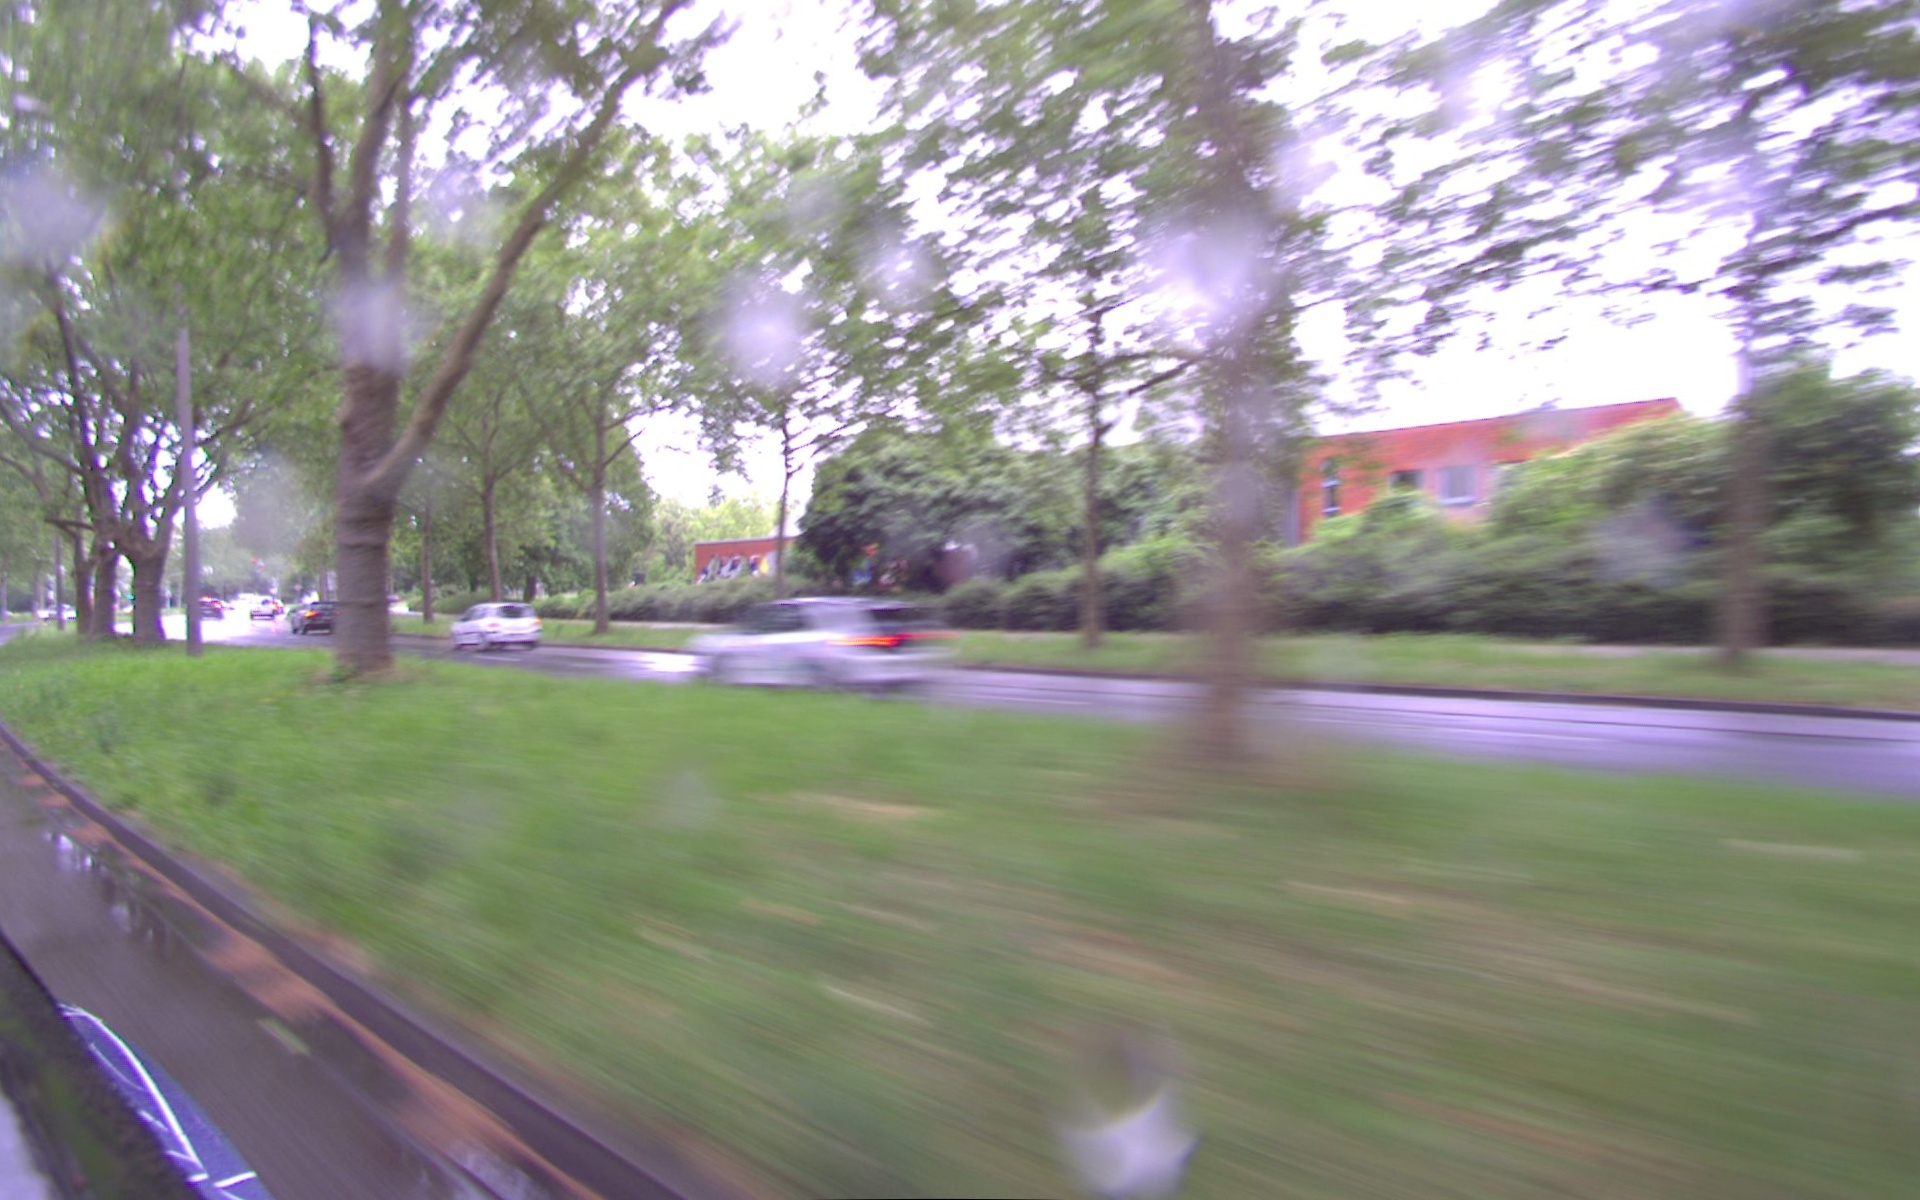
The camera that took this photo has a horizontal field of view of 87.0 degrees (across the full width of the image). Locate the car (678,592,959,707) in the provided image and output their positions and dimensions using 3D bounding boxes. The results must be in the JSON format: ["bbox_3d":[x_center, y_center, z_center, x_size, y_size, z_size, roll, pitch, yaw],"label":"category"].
[{"bbox_3d":[-2.254,0.673,15.351,4.407,1.487,1.726,-1,0,41],"label":"car"}]

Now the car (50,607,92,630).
[{"bbox_3d":[-70.157,1.452,79.908,1.967,1.641,4.533,-2,1,-36],"label":"car"}]

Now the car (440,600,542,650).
[{"bbox_3d":[-14.985,0.765,32.254,1.723,1.470,3.844,-2,0,-45],"label":"car"}]

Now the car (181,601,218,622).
[{"bbox_3d":[-66.497,1.020,88.581,2.002,1.749,4.969,-2,0,-31],"label":"car"}]

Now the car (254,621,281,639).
[{"bbox_3d":[-69.353,3.001,101.397,1.966,1.643,4.344,-2,1,-33],"label":"car"}]

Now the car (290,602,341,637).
[{"bbox_3d":[-31.539,0.939,49.442,1.721,1.573,4.377,-2,0,-37],"label":"car"}]

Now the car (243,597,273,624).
[{"bbox_3d":[-62.139,0.934,89.524,2.003,2.243,5.446,-2,0,-37],"label":"car"}]
